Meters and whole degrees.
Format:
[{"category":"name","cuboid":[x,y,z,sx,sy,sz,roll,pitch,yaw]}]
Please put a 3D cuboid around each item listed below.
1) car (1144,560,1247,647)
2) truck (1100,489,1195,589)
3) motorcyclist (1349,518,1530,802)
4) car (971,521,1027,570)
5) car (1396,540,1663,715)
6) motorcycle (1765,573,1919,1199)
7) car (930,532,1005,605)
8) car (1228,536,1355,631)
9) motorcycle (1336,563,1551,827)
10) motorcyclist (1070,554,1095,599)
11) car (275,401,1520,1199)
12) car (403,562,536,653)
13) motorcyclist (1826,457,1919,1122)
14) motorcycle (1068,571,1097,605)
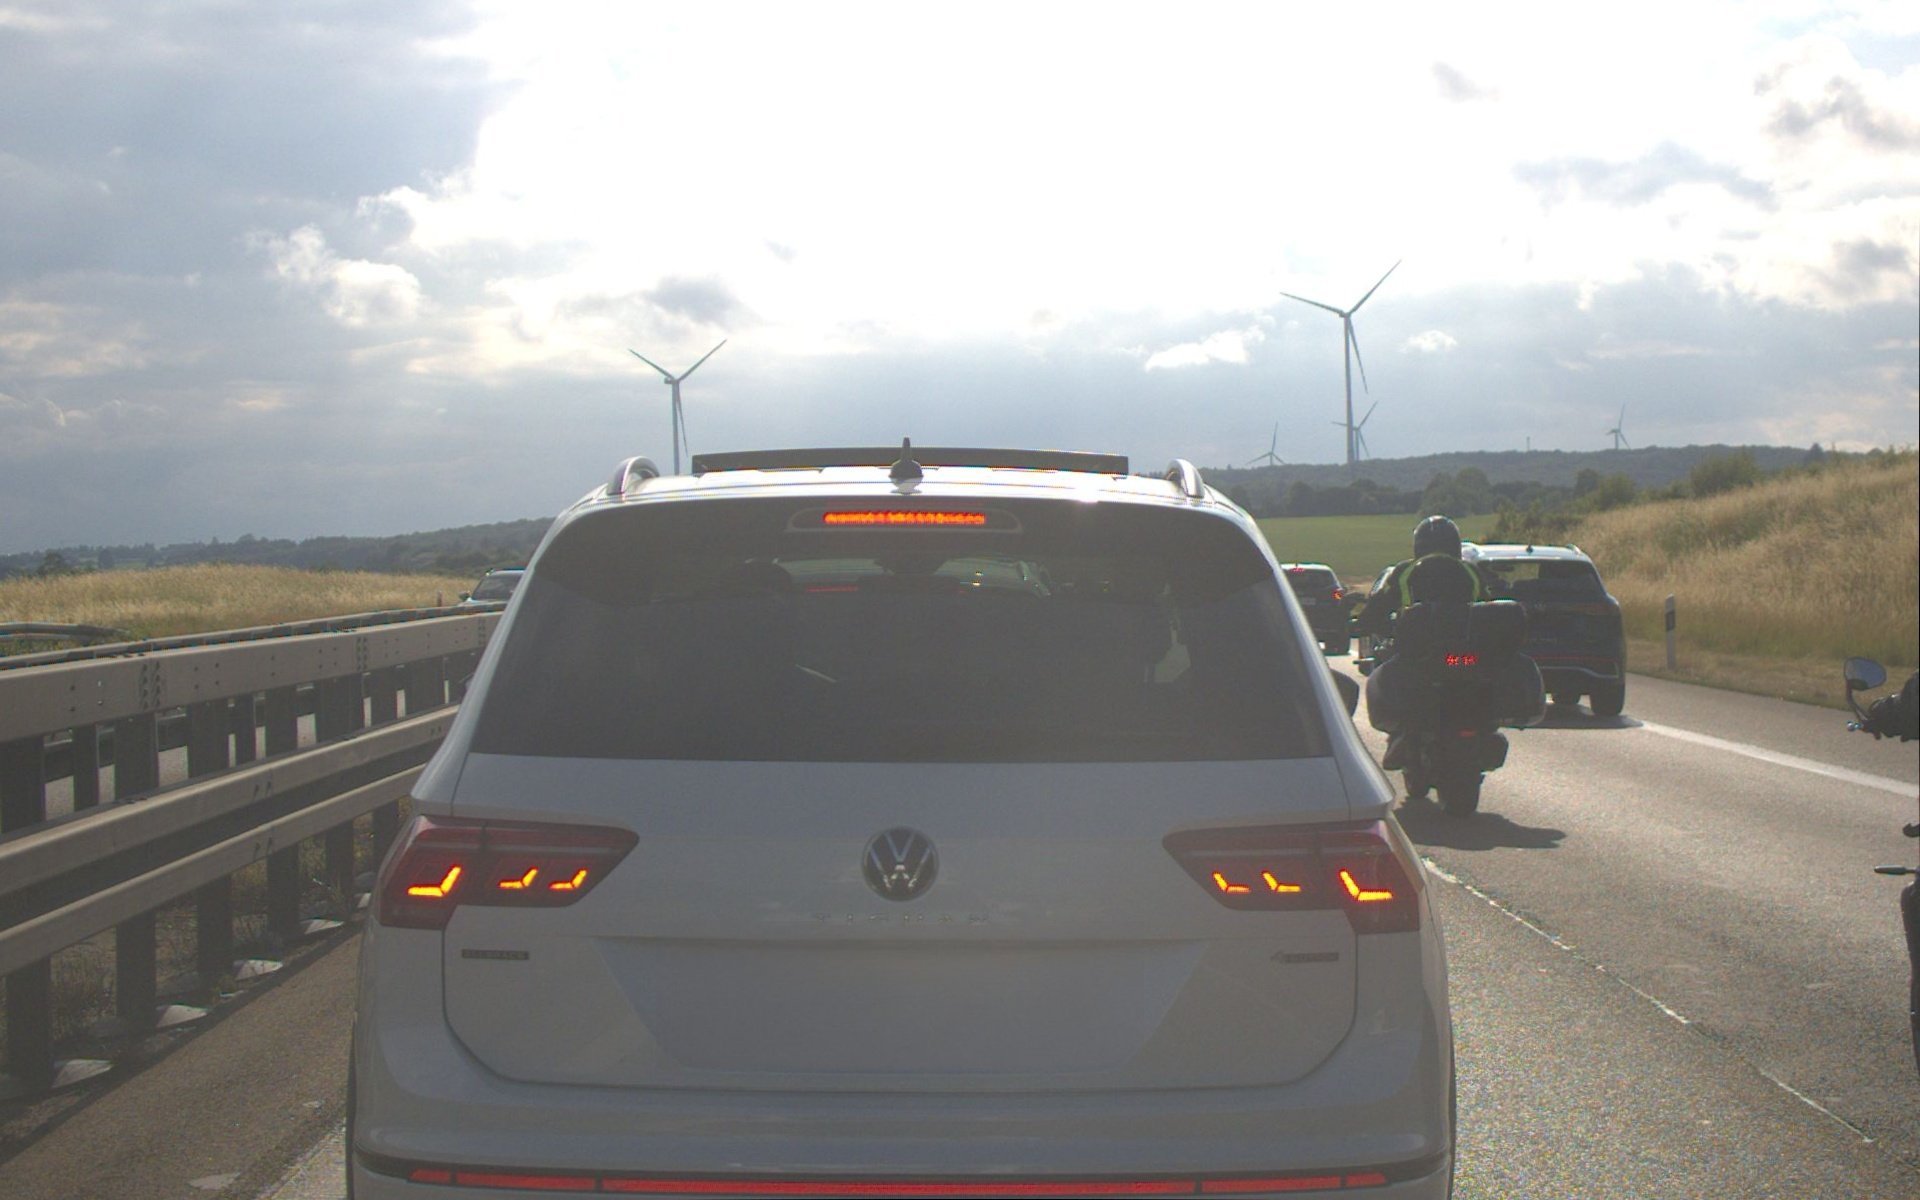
[{"category":"car","cuboid":[4.547,0.043,66.817,1.704,1.644,4.000,0,0,-1]},{"category":"truck","cuboid":[6.915,-2.290,128.348,3.184,3.581,11.130,0,1,1]},{"category":"motorcyclist","cuboid":[2.777,0.334,20.018,0.895,1.611,1.022,0,0,-1]},{"category":"car","cuboid":[1.228,-1.721,110.040,1.704,1.540,4.000,0,0,-1]},{"category":"car","cuboid":[5.617,0.237,34.405,1.821,1.596,4.235,1,0,-2]},{"category":"motorcycle","cuboid":[2.544,0.665,7.882,0.895,1.450,1.982,0,0,-1]},{"category":"car","cuboid":[0.147,-0.730,79.978,1.704,1.644,4.000,0,0,-1]},{"category":"car","cuboid":[5.528,-0.282,57.701,1.704,1.540,4.000,0,0,-1]},{"category":"motorcycle","cuboid":[2.782,0.510,20.037,0.895,1.450,2.269,0,0,-1]},{"category":"motorcyclist","cuboid":[4.246,-0.829,119.219,0.849,1.554,0.934,0,0,-1]},{"category":"car","cuboid":[-0.108,0.535,6.892,1.770,1.670,4.000,0,0,-1]},{"category":"car","cuboid":[-8.291,0.106,58.343,1.732,1.480,4.000,0,0,-1]},{"category":"motorcyclist","cuboid":[2.538,0.411,7.826,0.895,1.450,0.892,0,0,-1]},{"category":"motorcycle","cuboid":[4.243,-0.420,119.267,0.895,1.186,2.257,0,0,-1]}]
